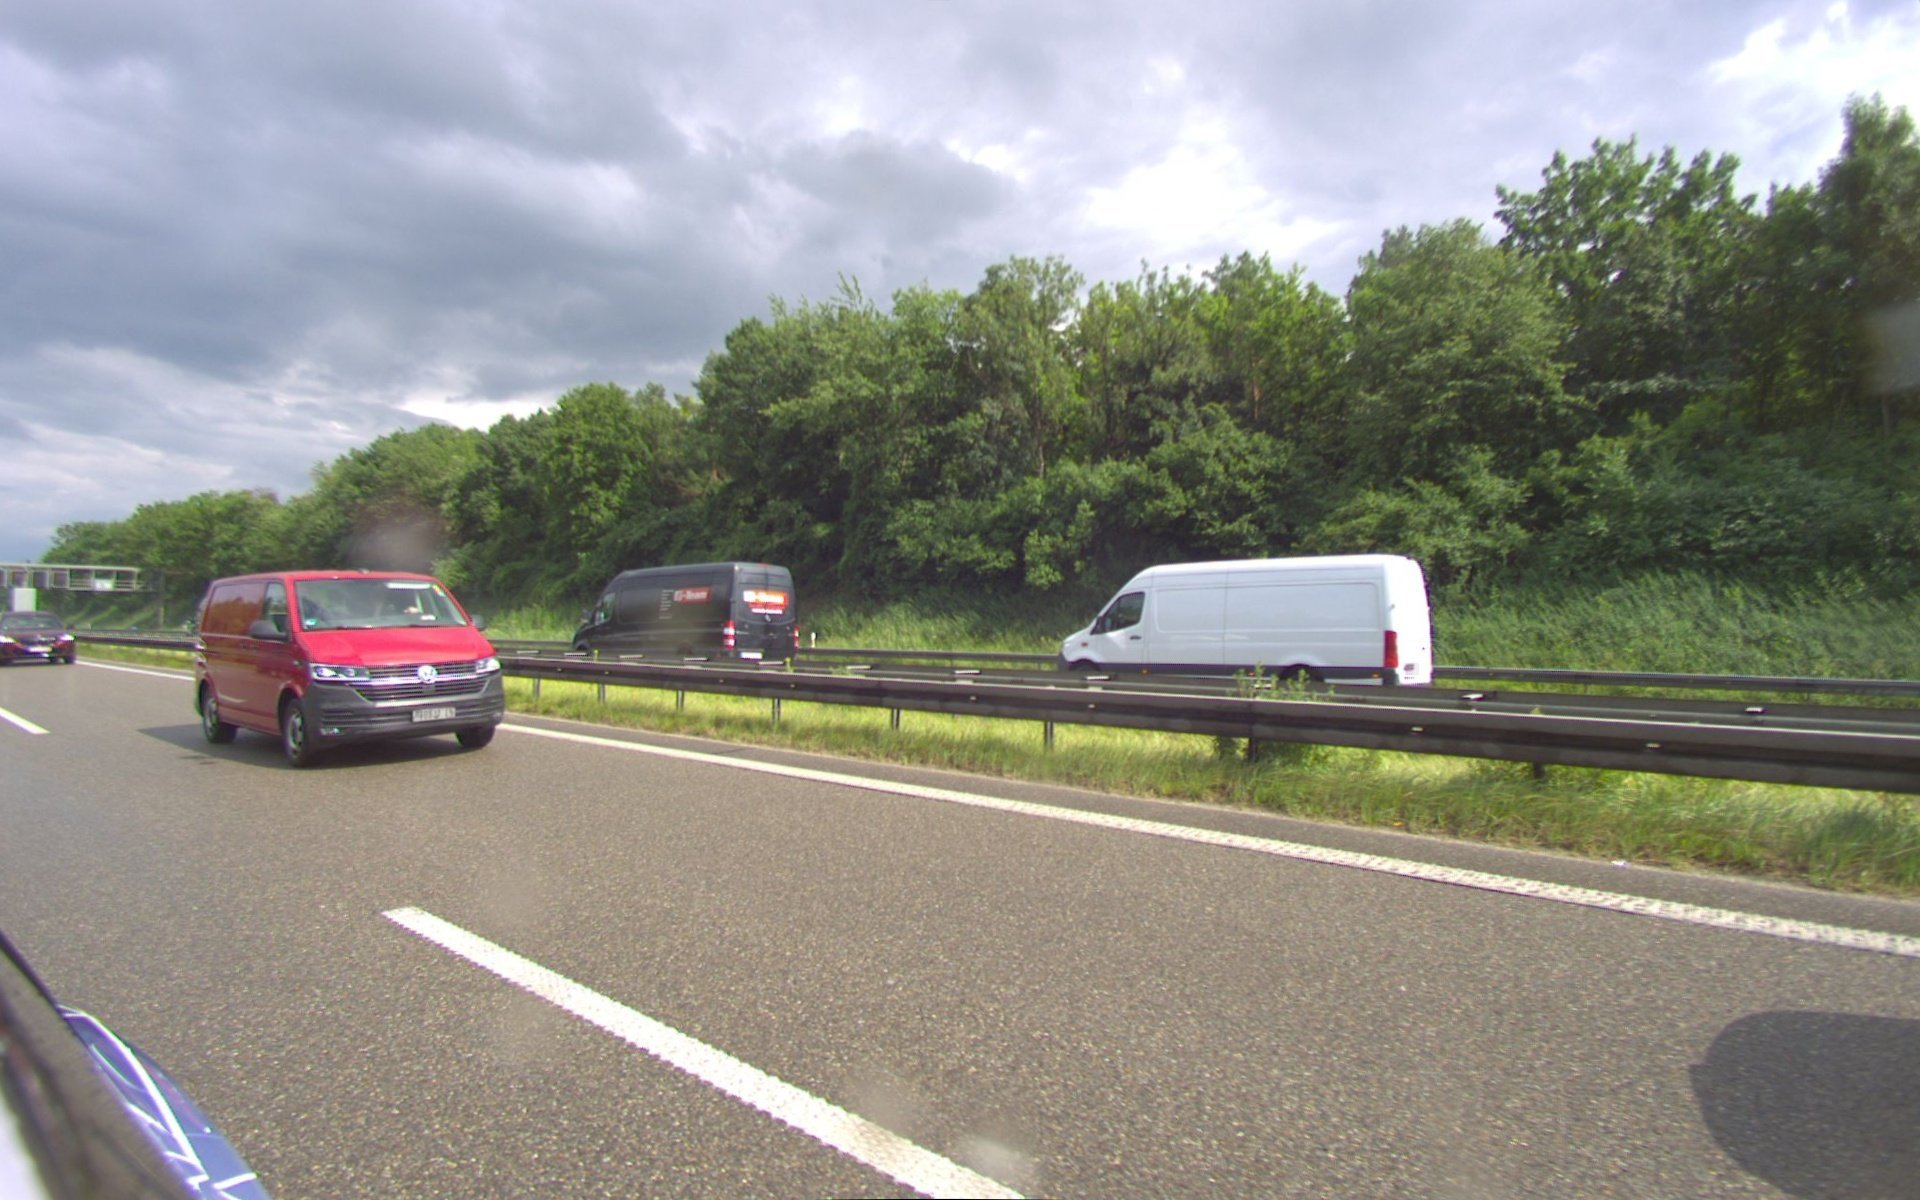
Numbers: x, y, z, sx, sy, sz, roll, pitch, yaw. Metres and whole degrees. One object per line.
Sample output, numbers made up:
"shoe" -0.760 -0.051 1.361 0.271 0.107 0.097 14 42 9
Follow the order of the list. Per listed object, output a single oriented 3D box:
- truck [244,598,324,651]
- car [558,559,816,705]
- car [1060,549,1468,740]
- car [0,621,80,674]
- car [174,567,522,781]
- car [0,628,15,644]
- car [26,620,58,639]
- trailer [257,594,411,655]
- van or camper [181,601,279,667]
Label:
"truck" -51.248 1.816 76.655 6.852 3.860 2.963 -1 0 37
"car" -6.438 0.661 23.187 6.886 2.892 2.239 -1 0 41
"car" 5.253 0.708 18.419 6.785 2.892 2.239 -1 0 41
"car" -29.290 1.428 31.671 4.836 1.508 1.983 -1 0 41
"car" -6.907 0.671 11.175 4.836 1.880 1.902 -1 0 41
"car" -94.308 3.502 99.486 3.648 1.475 1.586 -1 0 40
"car" -95.743 3.050 105.537 5.037 1.961 1.850 -1 0 40
"trailer" -44.612 1.701 71.643 17.921 3.860 2.963 -1 0 37
"van or camper" -34.313 1.529 47.486 6.835 2.892 2.239 -1 0 41
